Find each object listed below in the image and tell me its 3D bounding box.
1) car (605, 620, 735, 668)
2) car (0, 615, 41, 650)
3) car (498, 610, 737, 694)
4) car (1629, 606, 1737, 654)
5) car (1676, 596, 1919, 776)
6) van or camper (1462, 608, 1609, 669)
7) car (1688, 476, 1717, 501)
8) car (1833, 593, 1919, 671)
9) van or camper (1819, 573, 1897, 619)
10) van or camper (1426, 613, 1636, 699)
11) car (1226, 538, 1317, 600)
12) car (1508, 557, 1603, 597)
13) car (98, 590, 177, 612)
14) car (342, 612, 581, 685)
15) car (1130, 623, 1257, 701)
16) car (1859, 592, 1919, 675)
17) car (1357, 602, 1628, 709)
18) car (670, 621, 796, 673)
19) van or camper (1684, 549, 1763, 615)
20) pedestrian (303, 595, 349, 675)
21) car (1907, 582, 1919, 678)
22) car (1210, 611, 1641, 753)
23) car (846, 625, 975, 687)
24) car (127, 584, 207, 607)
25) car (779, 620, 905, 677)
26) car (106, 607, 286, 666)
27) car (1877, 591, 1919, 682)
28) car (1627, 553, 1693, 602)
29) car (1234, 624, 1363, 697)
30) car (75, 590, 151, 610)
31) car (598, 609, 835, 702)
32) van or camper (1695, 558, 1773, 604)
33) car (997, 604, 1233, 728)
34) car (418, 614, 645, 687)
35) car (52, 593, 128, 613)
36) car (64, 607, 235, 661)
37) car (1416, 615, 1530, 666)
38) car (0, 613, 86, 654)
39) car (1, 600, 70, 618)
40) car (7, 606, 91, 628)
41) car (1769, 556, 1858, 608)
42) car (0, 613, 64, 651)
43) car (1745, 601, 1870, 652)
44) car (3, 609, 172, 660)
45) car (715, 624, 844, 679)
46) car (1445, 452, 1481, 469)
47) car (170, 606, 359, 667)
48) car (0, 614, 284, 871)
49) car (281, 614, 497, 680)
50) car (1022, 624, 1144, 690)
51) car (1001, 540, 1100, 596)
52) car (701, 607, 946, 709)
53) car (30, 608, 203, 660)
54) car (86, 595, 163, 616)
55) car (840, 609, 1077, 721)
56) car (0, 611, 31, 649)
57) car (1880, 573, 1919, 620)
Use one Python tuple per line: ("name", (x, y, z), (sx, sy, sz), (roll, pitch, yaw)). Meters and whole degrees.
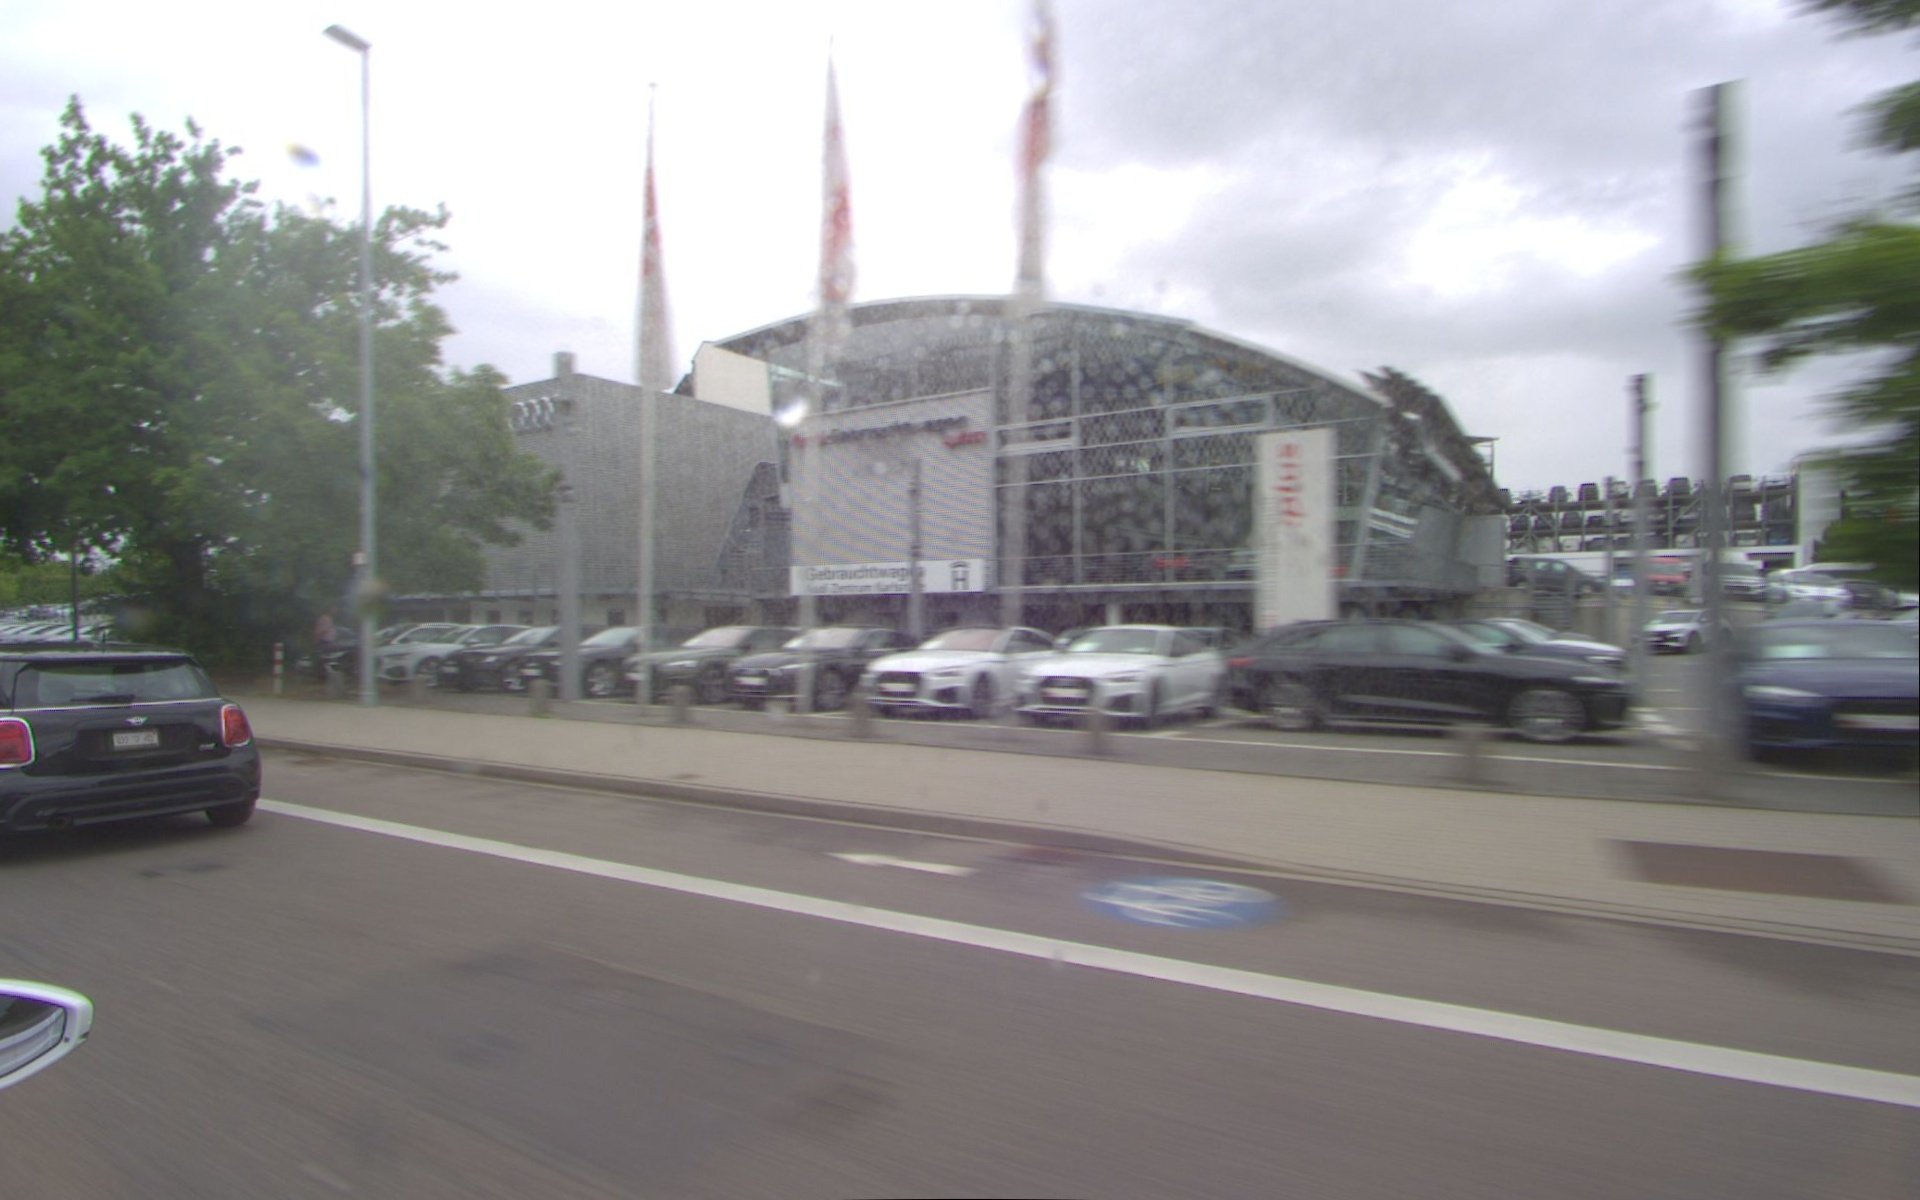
("car", (-10.032, 1.491, 34.927), (1.715, 1.505, 4.332), (2, 0, 31))
("car", (-44.317, 1.356, 44.913), (1.932, 1.463, 4.173), (2, -5, 33))
("car", (-6.743, 1.051, 20.176), (1.867, 1.489, 4.361), (0, -3, 31))
("car", (26.669, 1.112, 36.878), (4.390, 1.679, 1.910), (1, -2, -35))
("car", (8.987, 0.843, 10.429), (2.039, 1.504, 4.499), (-2, -4, 30))
("van or camper", (18.396, 1.179, 32.077), (3.942, 1.734, 1.838), (2, 0, 32))
("car", (74.835, -11.227, 100.991), (1.971, 1.907, 3.981), (0, -1, 31))
("car", (26.811, 0.826, 26.800), (4.839, 2.039, 1.990), (-2, -2, 32))
("van or camper", (41.634, -0.165, 46.516), (1.971, 2.040, 3.980), (2, 0, 32))
("van or camper", (12.930, 1.201, 22.810), (3.942, 1.699, 1.990), (2, 0, 32))
("car", (9.664, -0.910, 30.866), (1.798, 1.684, 3.981), (2, 0, 31))
("car", (29.511, -1.148, 49.684), (3.943, 1.862, 1.750), (2, 0, 34))
("car", (-60.431, 0.090, 73.623), (1.918, 1.455, 4.080), (2, 0, 31))
("car", (-11.291, 1.109, 23.050), (1.821, 1.490, 4.644), (1, -2, 31))
("car", (5.920, 1.458, 25.014), (1.784, 1.718, 4.297), (2, 0, 32))
("car", (25.363, 0.774, 24.372), (4.839, 2.039, 1.990), (-2, -2, 32))
("car", (10.871, 1.047, 20.602), (4.750, 1.965, 1.989), (-1, 0, 34))
("car", (-7.585, 1.534, 33.808), (1.789, 1.564, 4.095), (2, 0, 31))
("van or camper", (37.522, -0.830, 49.337), (2.507, 3.066, 4.819), (2, 0, 32))
("pedestrian", (-15.307, 0.840, 24.166), (0.709, 1.895, 0.670), (0, -1, 31))
("car", (22.265, 0.544, 19.820), (4.718, 2.039, 1.991), (-2, -2, 30))
("car", (5.754, 0.948, 12.683), (4.688, 1.504, 1.884), (-1, -3, 33))
("car", (-1.370, 1.607, 29.179), (1.789, 1.600, 3.951), (2, -1, 31))
("car", (-56.104, -0.307, 70.914), (1.704, 1.516, 4.080), (2, 0, 31))
("car", (-3.567, 1.484, 30.906), (1.789, 1.600, 3.951), (2, -1, 31))
("car", (-24.753, 1.226, 32.613), (1.799, 1.503, 4.208), (2, -5, 31))
("car", (23.815, 0.752, 22.156), (4.839, 2.039, 1.990), (-2, -2, 32))
("car", (29.144, -0.914, 41.794), (1.971, 1.873, 3.980), (2, 0, 32))
("car", (8.107, 1.430, 23.744), (1.901, 1.505, 4.244), (2, -2, 32))
("car", (-64.604, 0.004, 76.430), (1.704, 1.455, 4.080), (2, 0, 31))
("car", (-4.370, 1.022, 18.621), (1.881, 1.504, 4.173), (0, -3, 31))
("van or camper", (30.956, -0.748, 40.156), (1.971, 1.673, 3.980), (2, 0, 32))
("car", (2.377, 0.918, 14.403), (1.826, 1.504, 4.179), (0, -3, 33))
("car", (-9.086, 1.088, 21.566), (1.875, 1.408, 4.149), (0, -3, 32))
("car", (-68.835, 0.251, 79.296), (1.704, 1.455, 4.193), (2, 0, 31))
("car", (-27.276, 1.192, 33.849), (1.792, 1.503, 4.062), (2, -4, 31))
("car", (20.617, 1.590, 40.266), (3.939, 1.862, 1.752), (2, 0, 30))
("car", (-40.142, 1.347, 42.320), (1.971, 1.538, 4.391), (2, -5, 33))
("car", (-79.047, 0.803, 85.673), (1.704, 1.455, 4.080), (2, 0, 31))
("car", (-64.242, 1.175, 70.679), (1.704, 1.455, 4.080), (2, 0, 31))
("car", (32.989, -0.663, 38.804), (1.971, 1.847, 3.980), (2, 0, 32))
("car", (-42.276, 1.324, 43.695), (2.000, 1.522, 4.290), (0, -5, 33))
("car", (29.396, 0.941, 34.698), (4.382, 1.679, 1.913), (1, -2, -30))
("car", (-31.657, 1.287, 36.443), (1.948, 1.504, 4.179), (2, -4, 32))
("car", (-5.710, 1.585, 32.178), (1.789, 1.564, 4.095), (2, 0, 31))
("car", (66.743, -18.532, 132.970), (1.967, 1.689, 3.987), (0, 0, -22))
("car", (-20.533, 1.110, 29.733), (1.843, 1.410, 4.123), (2, -5, 31))
("car", (-7.072, 0.902, 7.685), (3.590, 1.435, 1.782), (1, 3, 32))
("car", (-13.757, 1.142, 24.369), (1.829, 1.439, 4.199), (0, -2, 31))
("car", (3.351, 1.456, 26.726), (1.702, 1.563, 3.980), (2, 0, 32))
("car", (3.126, -1.053, 33.949), (1.798, 1.684, 3.981), (2, 0, 31))
("car", (-2.167, 0.980, 17.089), (1.845, 1.504, 4.212), (0, -3, 33))
("car", (-29.491, 1.236, 35.150), (1.930, 1.504, 4.194), (2, -4, 31))
("car", (-62.328, 0.416, 74.789), (1.704, 1.455, 4.080), (2, 0, 31))
("car", (0.127, 0.988, 15.729), (1.850, 1.504, 4.026), (0, -3, 32))
("car", (-46.433, 1.228, 46.364), (1.971, 1.722, 4.547), (2, -5, 33))
("car", (43.536, -0.133, 45.361), (1.971, 2.040, 3.980), (2, 0, 32))
